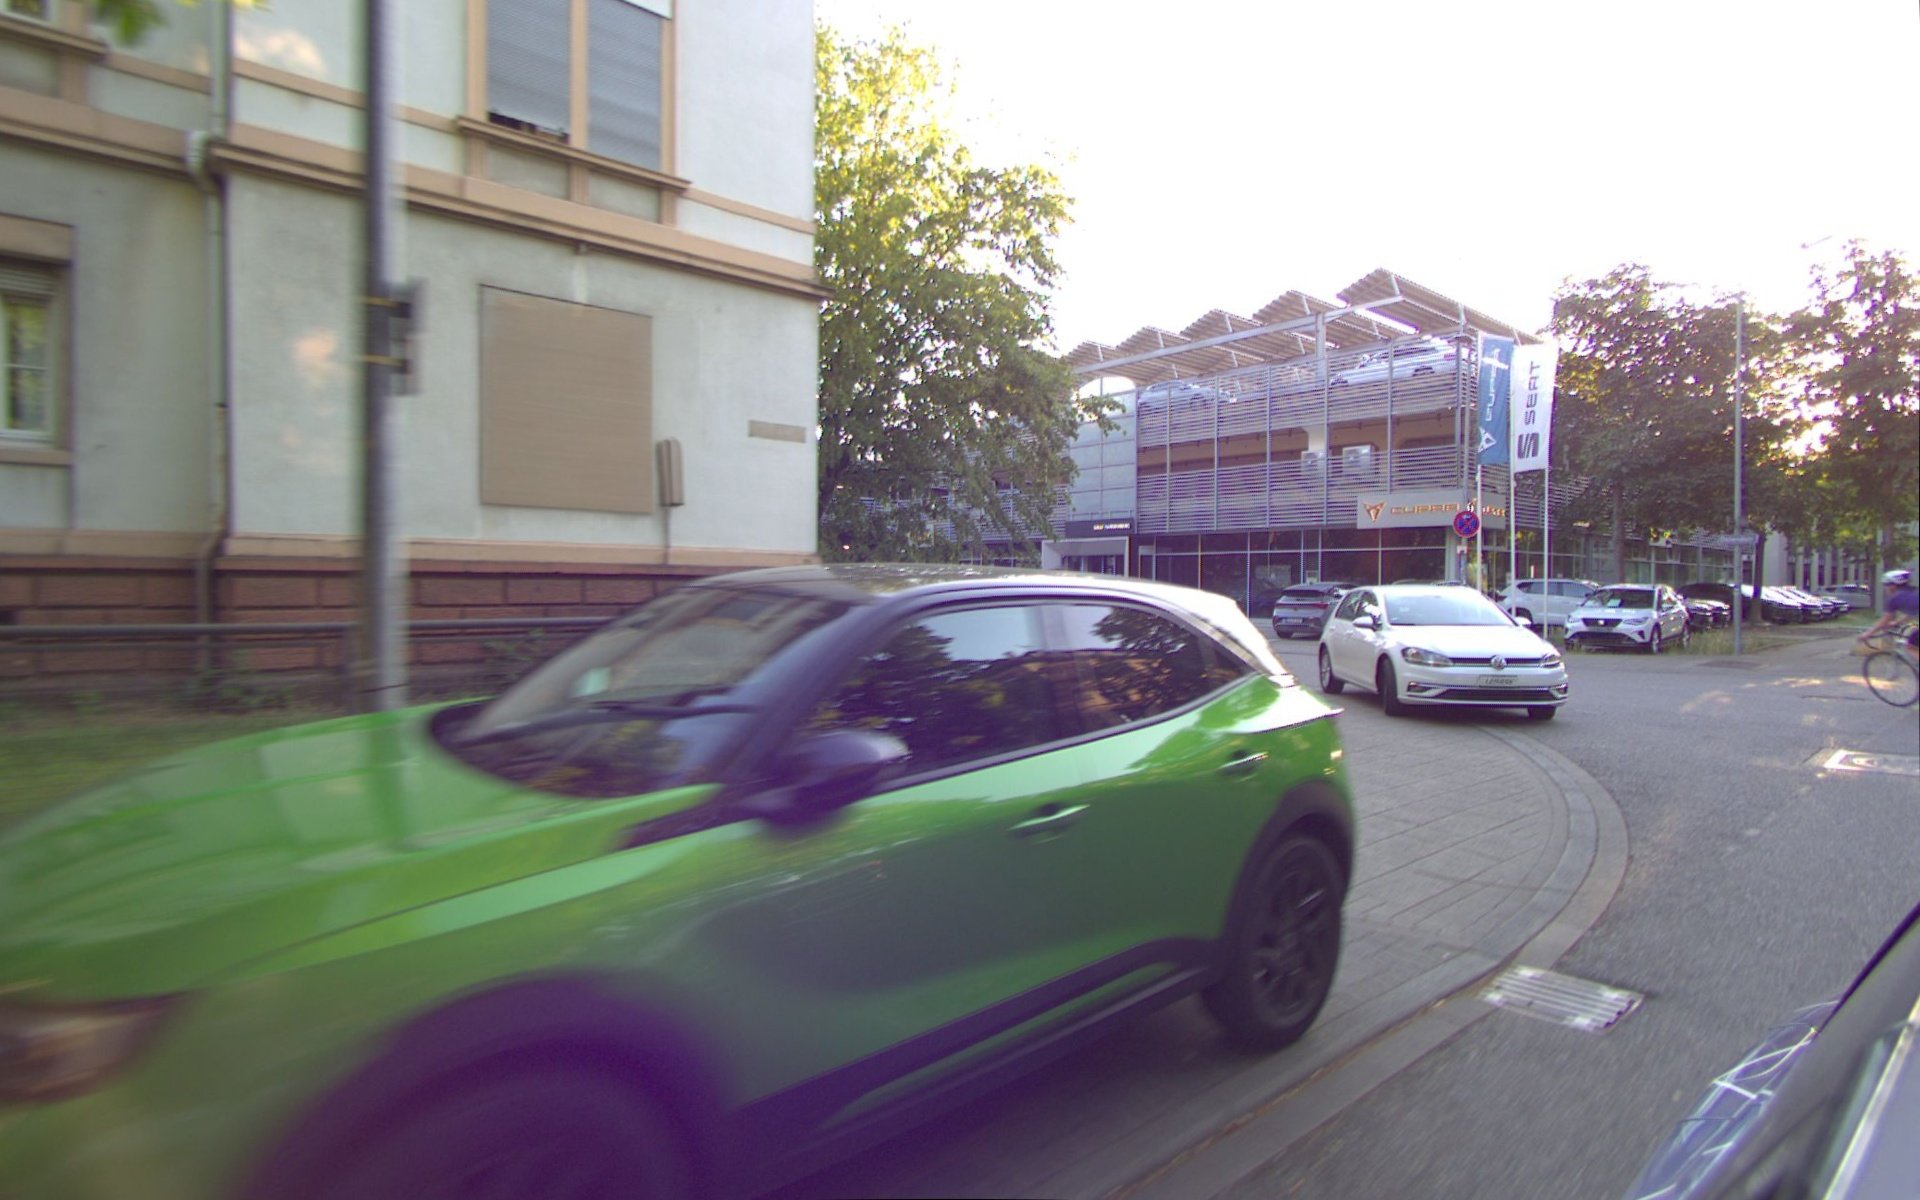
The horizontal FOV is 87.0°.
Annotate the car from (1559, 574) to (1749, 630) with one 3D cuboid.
[{"bbox_3d":[21.422,0.049,31.380,1.840,1.592,4.584,0,0,-41],"label":"car"}]

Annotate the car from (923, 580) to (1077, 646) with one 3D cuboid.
[{"bbox_3d":[0.881,0.272,24.346,1.603,1.453,3.781,1,0,-39],"label":"car"}]

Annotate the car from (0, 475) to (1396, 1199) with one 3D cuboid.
[{"bbox_3d":[-0.467,0.598,2.991,3.894,1.576,1.734,0,3,-42],"label":"car"}]

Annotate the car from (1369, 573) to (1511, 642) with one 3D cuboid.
[{"bbox_3d":[12.401,0.134,26.047,4.053,1.626,1.716,-2,1,-39],"label":"car"}]

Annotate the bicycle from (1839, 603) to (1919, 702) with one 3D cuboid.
[{"bbox_3d":[10.805,0.596,11.153,0.528,1.046,1.908,-1,2,-2],"label":"bicycle"}]

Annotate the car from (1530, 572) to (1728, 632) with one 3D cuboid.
[{"bbox_3d":[19.649,0.043,29.873,1.840,1.637,4.584,0,0,-41],"label":"car"}]

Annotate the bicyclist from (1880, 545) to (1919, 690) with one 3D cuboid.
[{"bbox_3d":[10.800,0.200,11.166,0.500,1.597,0.824,1,0,-5],"label":"bicyclist"}]

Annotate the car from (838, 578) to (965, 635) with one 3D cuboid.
[{"bbox_3d":[-1.660,0.166,27.530,1.603,1.453,3.682,1,0,-39],"label":"car"}]

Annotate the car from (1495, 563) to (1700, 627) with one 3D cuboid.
[{"bbox_3d":[17.871,-0.131,28.557,1.840,1.664,4.584,0,0,-41],"label":"car"}]

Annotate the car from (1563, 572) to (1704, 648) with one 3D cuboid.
[{"bbox_3d":[15.320,0.193,22.944,3.835,1.592,1.765,0,0,-42],"label":"car"}]

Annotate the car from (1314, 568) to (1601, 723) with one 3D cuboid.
[{"bbox_3d":[5.658,0.433,12.137,1.781,1.520,4.164,0,0,7],"label":"car"}]

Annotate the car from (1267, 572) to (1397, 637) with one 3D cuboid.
[{"bbox_3d":[10.443,0.078,28.322,3.626,1.611,1.706,-3,2,-37],"label":"car"}]

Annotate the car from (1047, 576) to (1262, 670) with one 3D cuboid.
[{"bbox_3d":[3.563,0.345,19.104,1.603,1.564,3.941,-1,1,-37],"label":"car"}]
